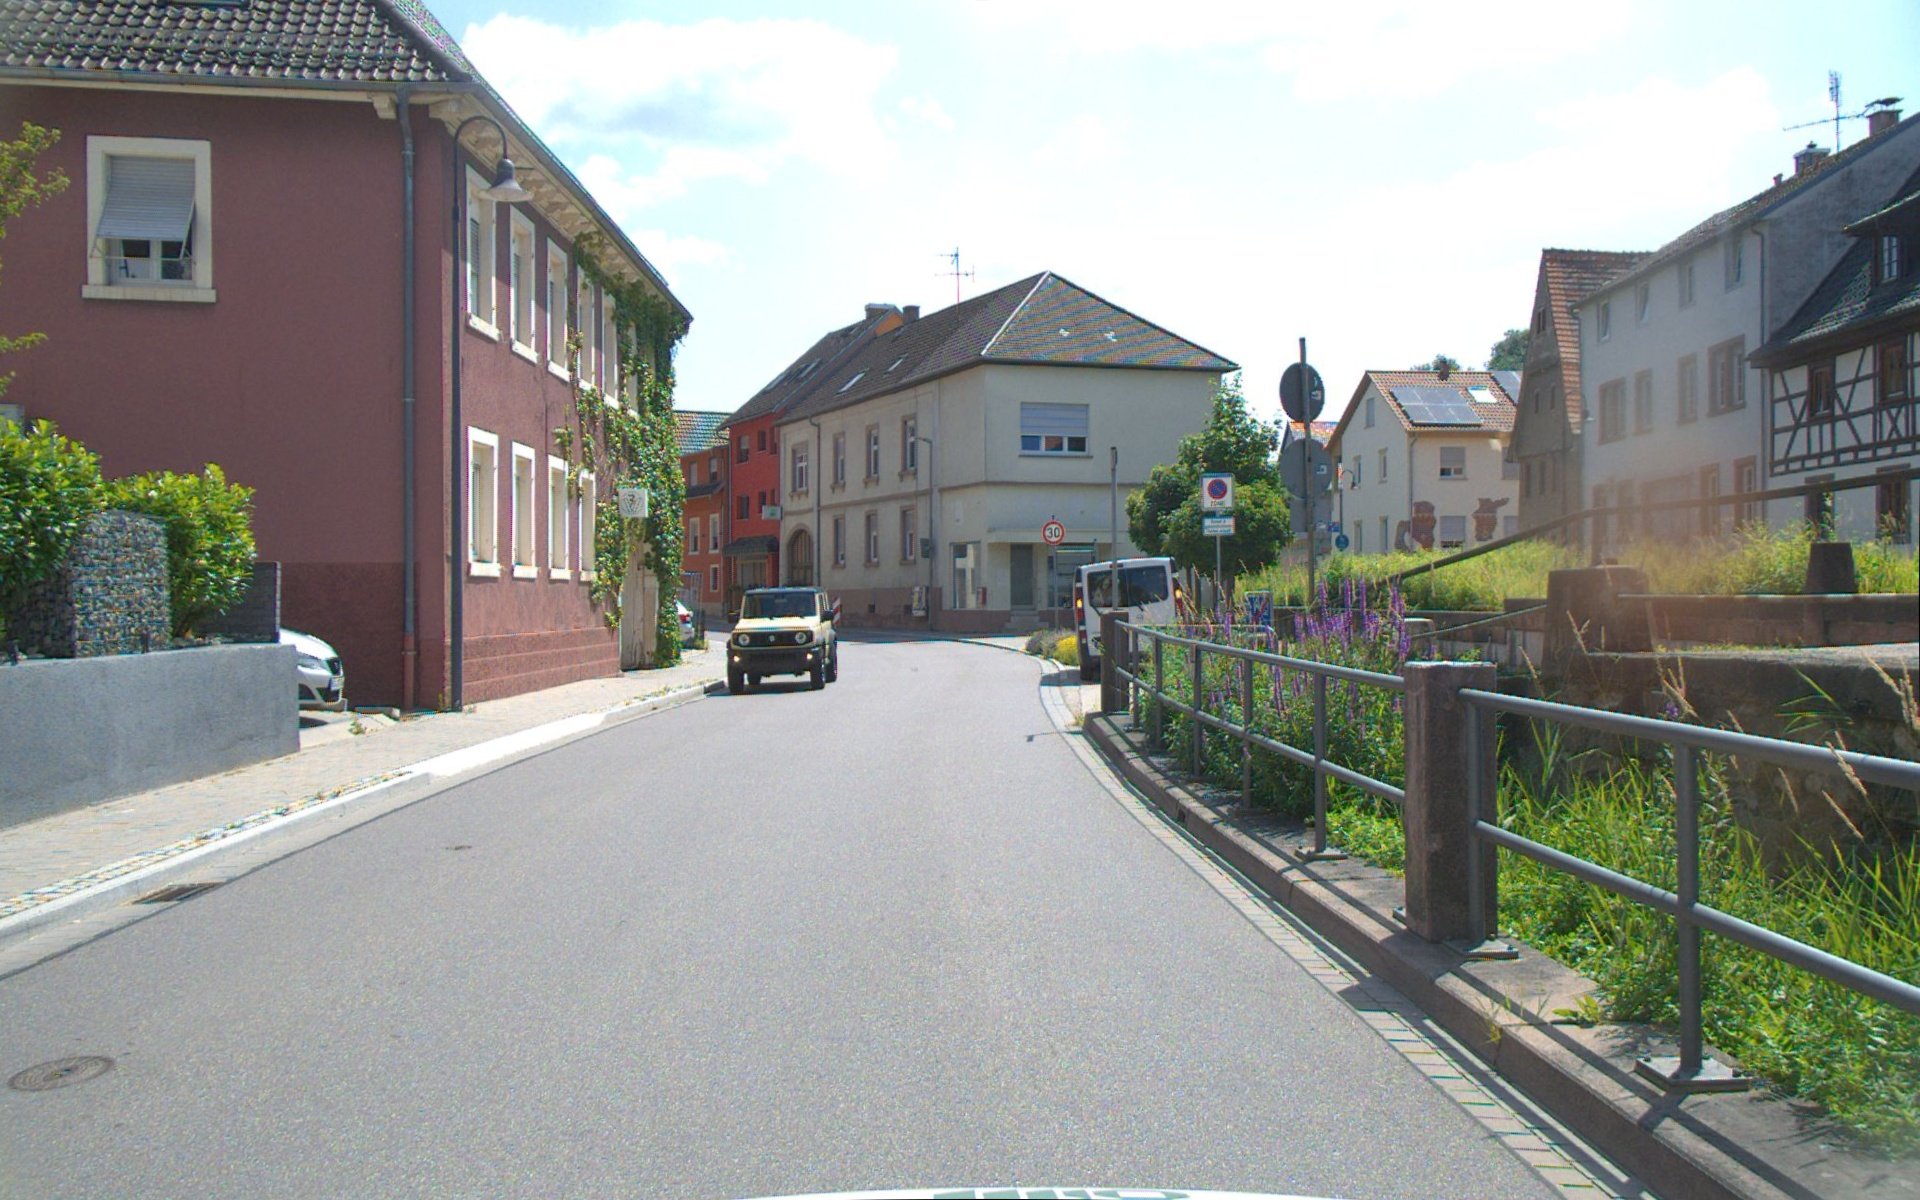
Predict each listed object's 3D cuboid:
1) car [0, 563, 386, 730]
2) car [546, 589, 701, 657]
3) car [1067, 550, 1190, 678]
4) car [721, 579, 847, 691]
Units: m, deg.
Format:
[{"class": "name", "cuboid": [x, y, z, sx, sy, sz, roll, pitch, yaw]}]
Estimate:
[{"class": "car", "cuboid": [-8.088, 0.458, 17.307, 3.493, 1.430, 1.651, 4, 0, -1]}, {"class": "car", "cuboid": [-8.731, 0.610, 42.760, 3.928, 1.557, 1.988, -4, -3, 42]}, {"class": "car", "cuboid": [2.866, 0.222, 28.652, 1.858, 2.015, 3.115, -3, 0, 2]}, {"class": "car", "cuboid": [-2.977, 0.561, 28.604, 1.588, 1.749, 3.474, -2, 0, 2]}]
